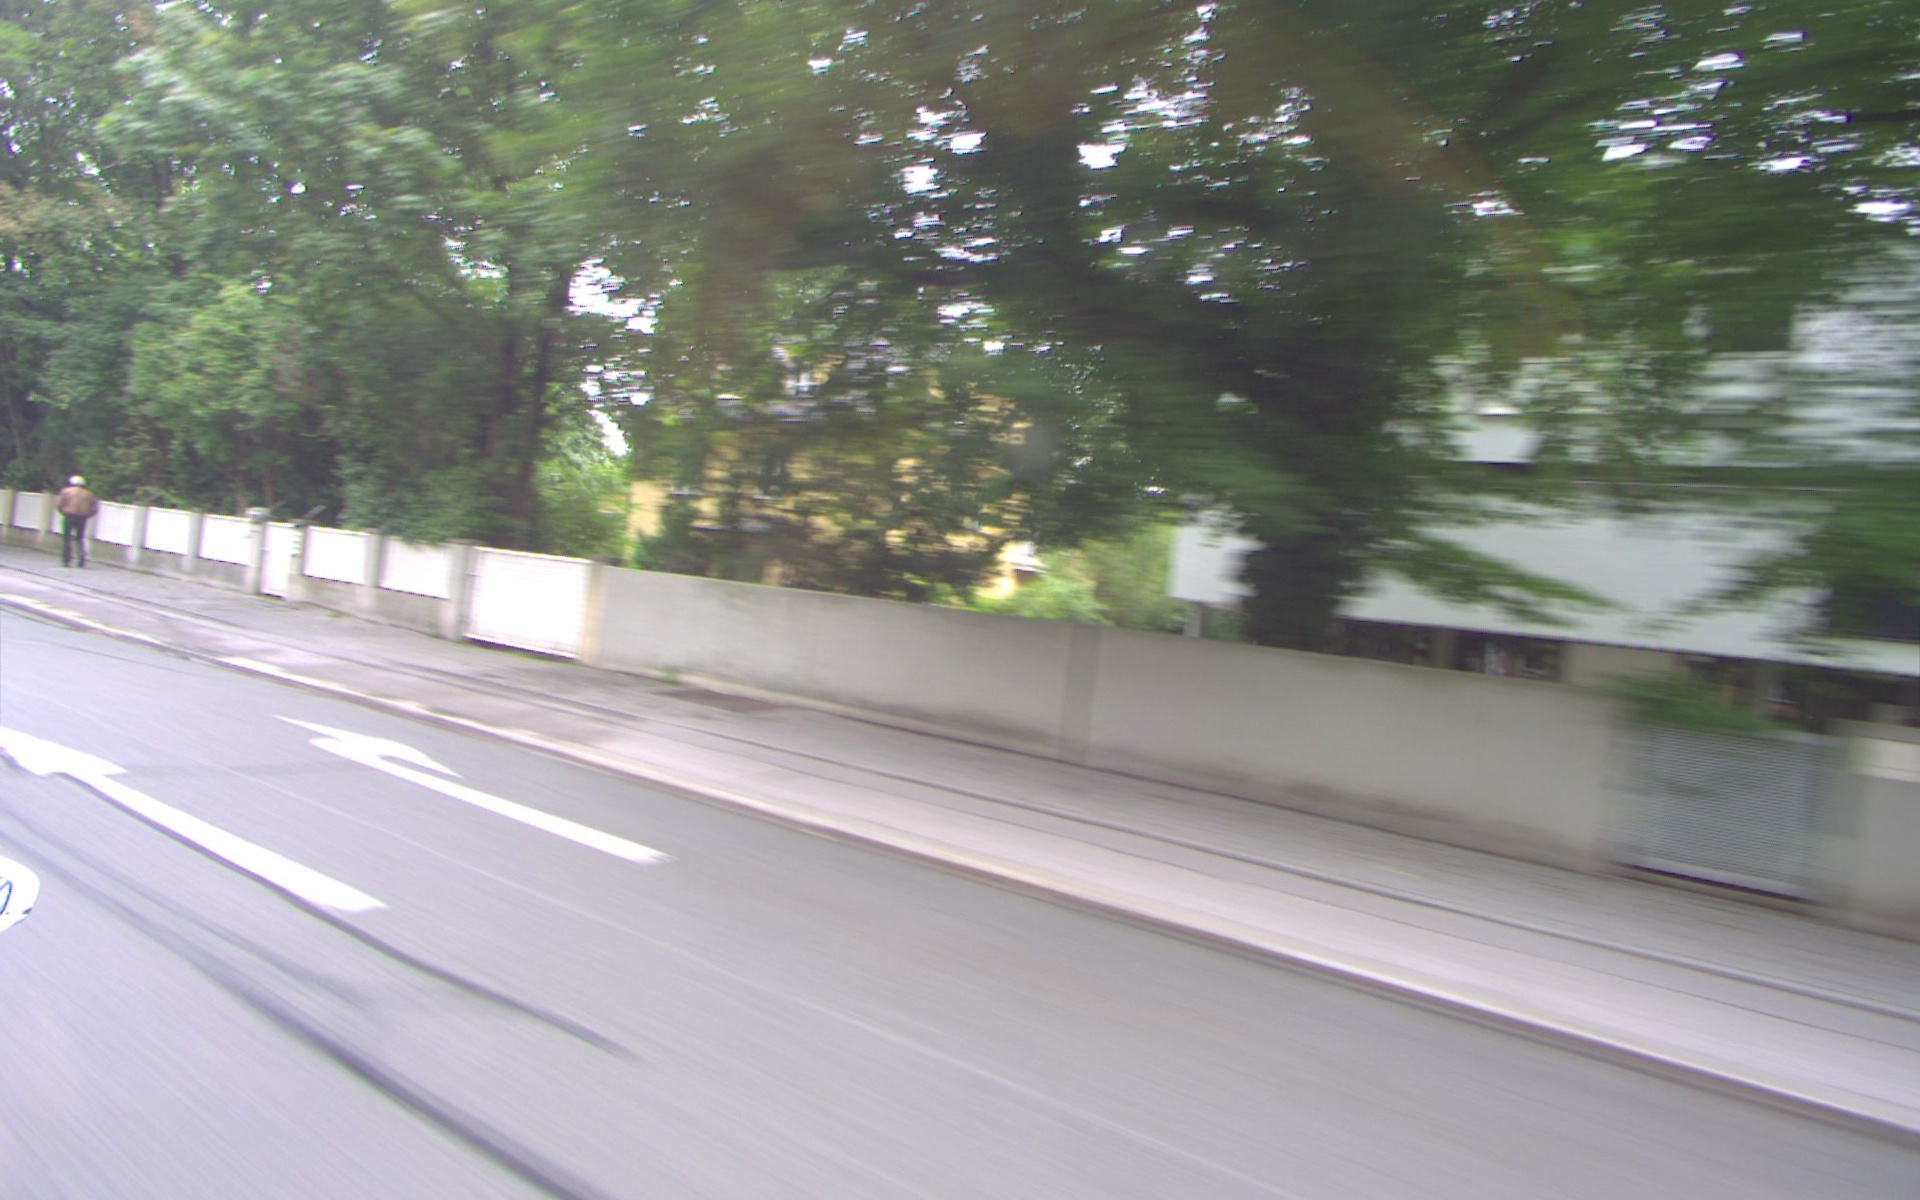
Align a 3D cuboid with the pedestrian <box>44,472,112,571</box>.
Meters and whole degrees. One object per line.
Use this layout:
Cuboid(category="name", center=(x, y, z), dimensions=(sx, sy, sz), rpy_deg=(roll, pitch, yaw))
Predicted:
Cuboid(category="pedestrian", center=(-18.618, -1.652, 21.241), dimensions=(0.789, 1.967, 0.778), rpy_deg=(7, 2, 31))
